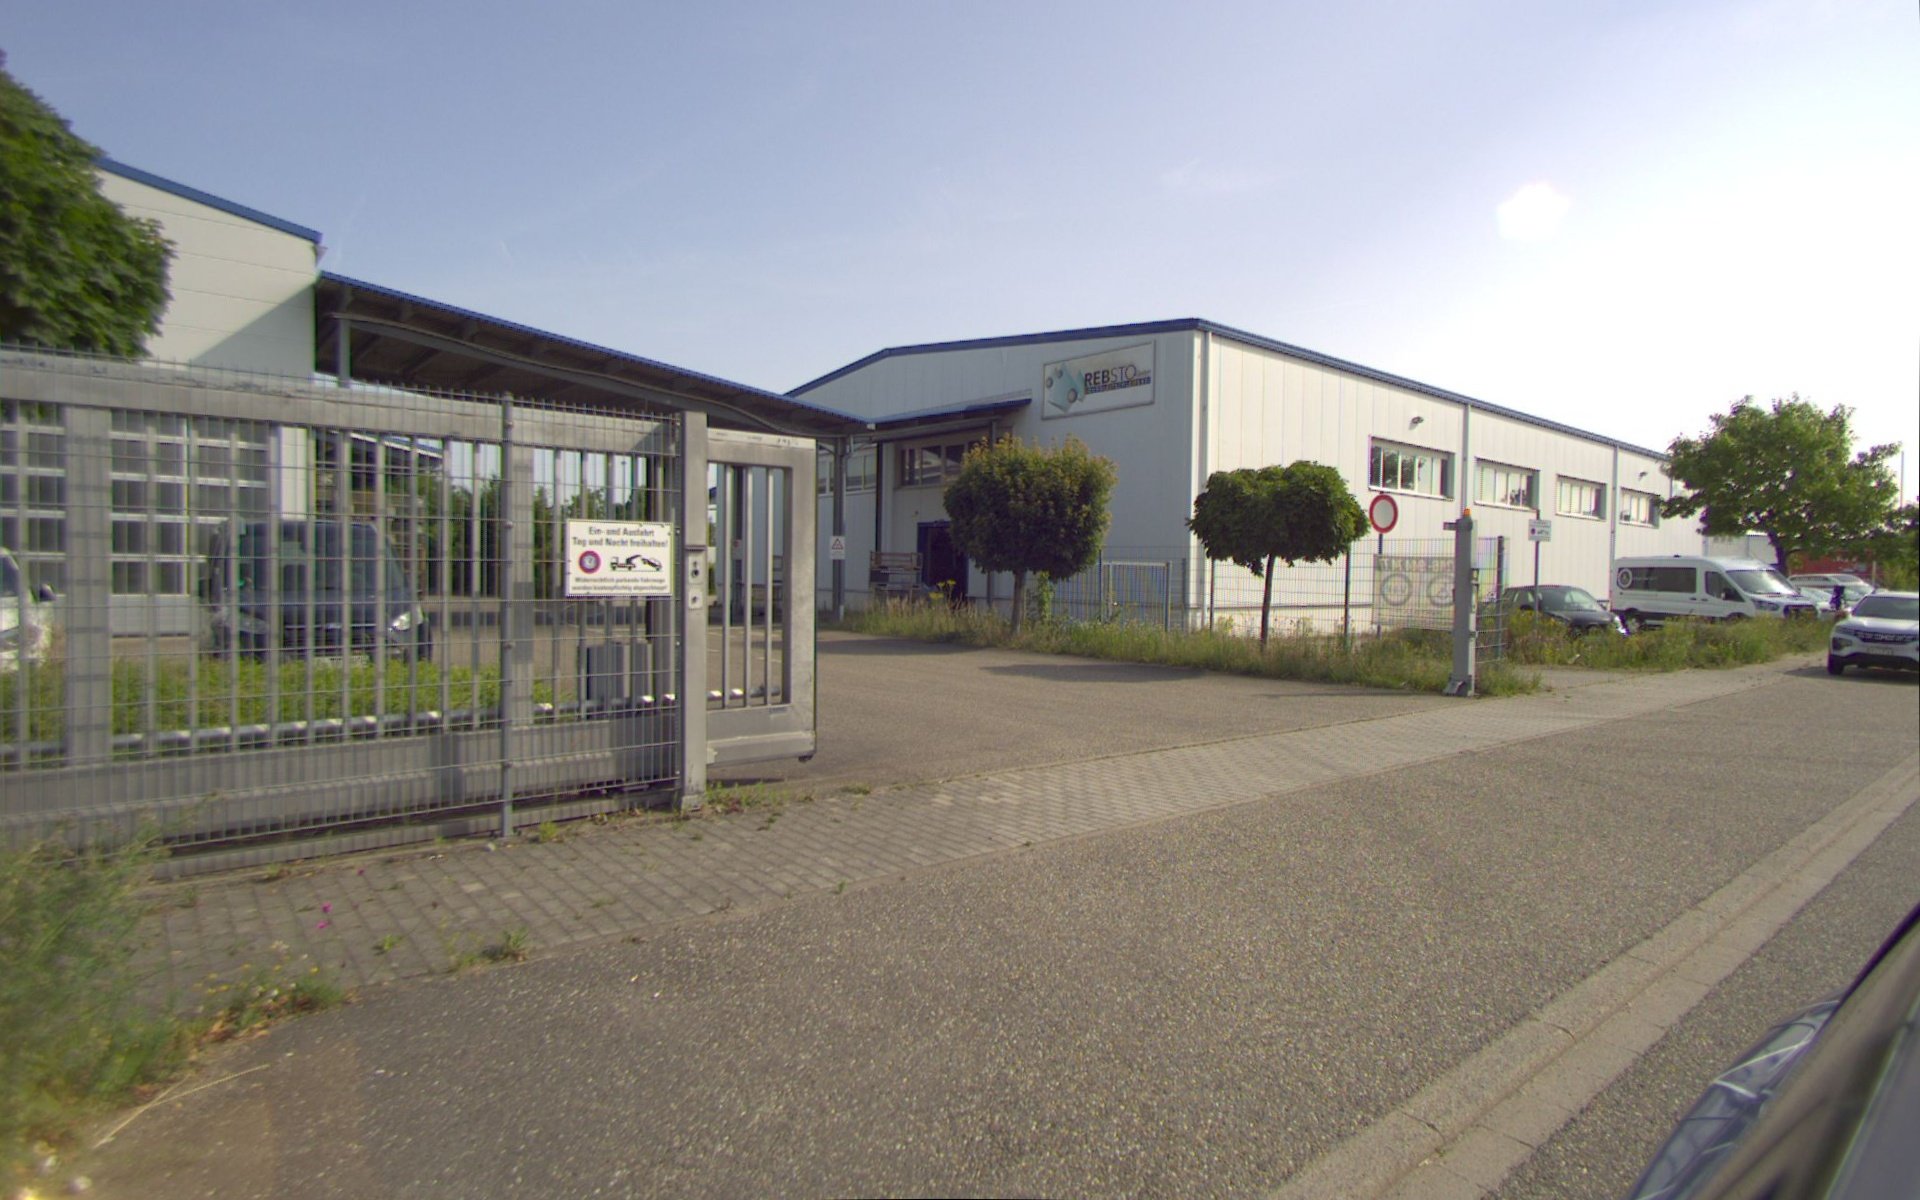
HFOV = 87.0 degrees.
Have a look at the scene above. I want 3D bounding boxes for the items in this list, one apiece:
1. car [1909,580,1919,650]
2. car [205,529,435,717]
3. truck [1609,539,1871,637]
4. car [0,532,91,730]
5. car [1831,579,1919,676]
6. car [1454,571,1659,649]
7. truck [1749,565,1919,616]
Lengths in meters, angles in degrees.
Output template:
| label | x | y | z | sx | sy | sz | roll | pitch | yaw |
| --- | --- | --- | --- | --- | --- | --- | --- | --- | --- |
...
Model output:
| label | x | y | z | sx | sy | sz | roll | pitch | yaw |
| --- | --- | --- | --- | --- | --- | --- | --- | --- | --- |
| car | 22.758 | 0.360 | 22.717 | 3.479 | 1.522 | 1.694 | -1 | 4 | -41 |
| car | -6.439 | 0.114 | 10.088 | 1.621 | 1.479 | 4.021 | 0 | 2 | -35 |
| truck | 22.409 | -0.435 | 29.582 | 2.229 | 2.561 | 6.223 | 1 | 2 | -7 |
| car | -8.918 | 0.174 | 8.760 | 1.720 | 1.479 | 4.021 | 0 | 2 | -35 |
| car | 16.858 | 0.448 | 17.871 | 3.479 | 1.522 | 1.668 | -1 | 4 | -41 |
| car | 12.842 | 0.149 | 22.120 | 1.860 | 1.516 | 4.005 | 1 | 2 | -5 |
| truck | 37.829 | -0.486 | 44.028 | 2.231 | 2.046 | 5.836 | 1 | 2 | -3 |
